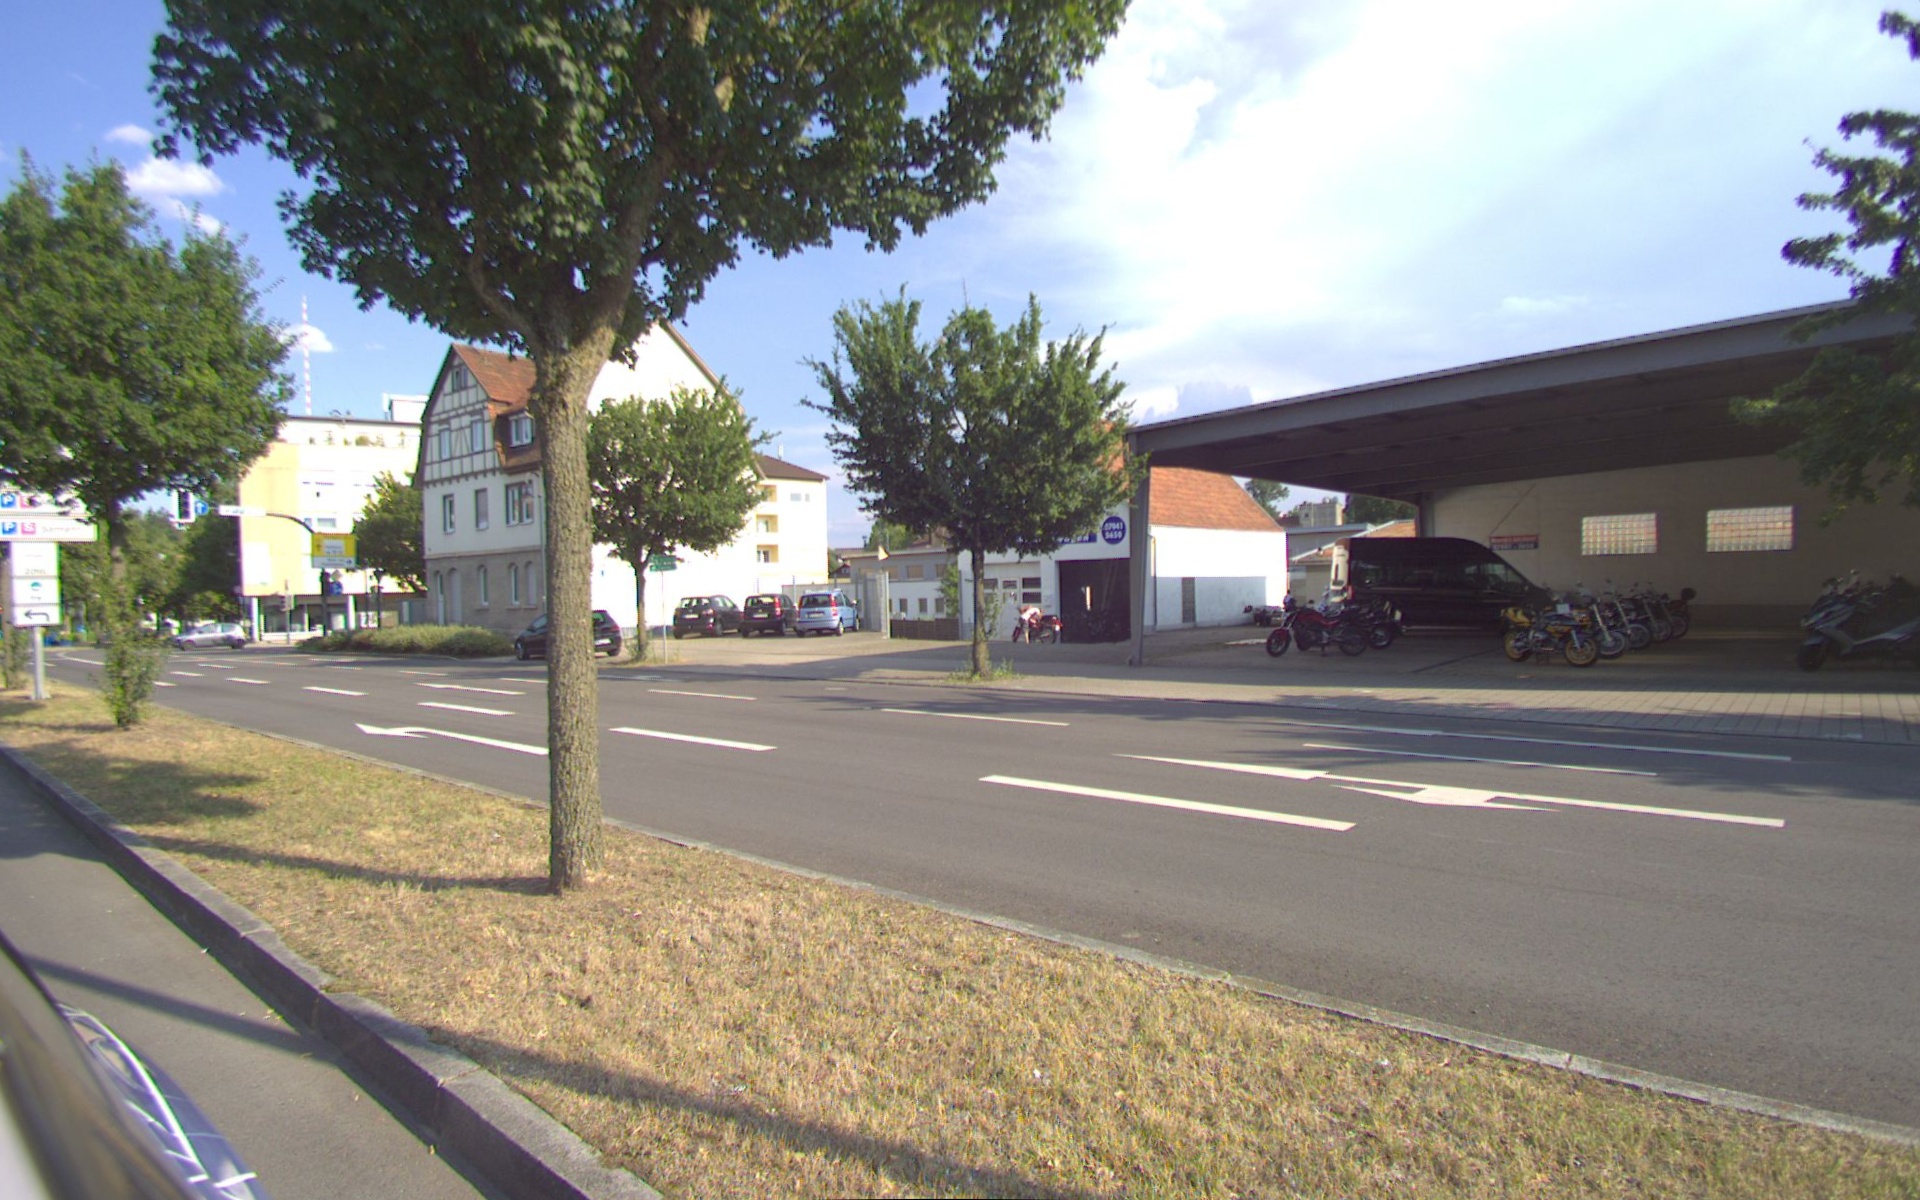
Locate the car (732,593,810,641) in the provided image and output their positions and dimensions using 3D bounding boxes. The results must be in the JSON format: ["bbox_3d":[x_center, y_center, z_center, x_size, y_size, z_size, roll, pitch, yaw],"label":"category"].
[{"bbox_3d":[-6.909,0.590,37.302,1.797,1.512,3.819,-3,2,5],"label":"car"}]

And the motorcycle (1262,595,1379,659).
[{"bbox_3d":[7.508,0.564,21.155,2.202,1.290,0.629,-1,0,11],"label":"motorcycle"}]

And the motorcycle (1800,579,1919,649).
[{"bbox_3d":[18.057,0.273,19.983,2.103,1.306,0.628,-3,-1,17],"label":"motorcycle"}]

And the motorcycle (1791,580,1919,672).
[{"bbox_3d":[13.873,0.378,15.111,2.103,1.306,0.628,-3,-1,17],"label":"motorcycle"}]

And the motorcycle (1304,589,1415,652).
[{"bbox_3d":[8.968,0.454,22.799,2.198,1.372,0.630,-1,0,5],"label":"motorcycle"}]

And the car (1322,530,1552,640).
[{"bbox_3d":[12.878,-0.374,27.623,5.221,2.773,1.996,-1,0,7],"label":"car"}]

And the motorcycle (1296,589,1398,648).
[{"bbox_3d":[9.391,0.456,24.603,2.198,1.372,0.630,-1,0,5],"label":"motorcycle"}]

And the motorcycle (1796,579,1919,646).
[{"bbox_3d":[19.046,0.260,21.284,2.103,1.306,0.628,-3,-1,17],"label":"motorcycle"}]

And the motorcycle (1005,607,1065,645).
[{"bbox_3d":[2.446,0.843,33.205,1.974,1.194,0.577,-1,0,41],"label":"motorcycle"}]

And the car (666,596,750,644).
[{"bbox_3d":[-9.310,0.694,37.695,1.797,1.512,3.819,-3,2,5],"label":"car"}]

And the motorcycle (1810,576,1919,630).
[{"bbox_3d":[23.746,0.078,26.516,2.103,1.306,0.628,-3,-1,17],"label":"motorcycle"}]

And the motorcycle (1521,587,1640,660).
[{"bbox_3d":[12.170,0.441,19.951,0.621,1.347,2.269,-1,0,-9],"label":"motorcycle"}]

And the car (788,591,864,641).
[{"bbox_3d":[-4.670,0.524,35.673,1.797,1.512,3.819,-3,2,5],"label":"car"}]

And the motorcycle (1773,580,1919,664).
[{"bbox_3d":[14.925,0.364,16.771,2.103,1.306,0.628,-3,-1,17],"label":"motorcycle"}]

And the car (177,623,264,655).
[{"bbox_3d":[-43.036,2.242,58.922,3.938,1.644,1.863,-1,0,-41],"label":"car"}]

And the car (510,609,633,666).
[{"bbox_3d":[-11.588,1.083,30.072,3.823,1.462,1.795,-1,2,42],"label":"car"}]

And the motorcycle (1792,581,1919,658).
[{"bbox_3d":[16.543,0.343,18.343,2.103,1.306,0.628,-3,-1,17],"label":"motorcycle"}]

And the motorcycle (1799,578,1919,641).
[{"bbox_3d":[20.240,0.211,22.639,2.103,1.306,0.628,-3,-1,17],"label":"motorcycle"}]

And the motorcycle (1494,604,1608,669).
[{"bbox_3d":[10.543,0.622,18.147,0.621,1.095,2.038,-1,0,-7],"label":"motorcycle"}]

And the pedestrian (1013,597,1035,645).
[{"bbox_3d":[2.084,0.680,32.760,0.485,1.530,0.496,-1,0,41],"label":"pedestrian"}]

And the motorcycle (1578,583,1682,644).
[{"bbox_3d":[15.549,0.306,23.574,0.621,1.347,2.269,-1,0,-9],"label":"motorcycle"}]

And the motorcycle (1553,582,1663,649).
[{"bbox_3d":[13.876,0.328,21.764,0.621,1.347,2.269,-1,0,-9],"label":"motorcycle"}]

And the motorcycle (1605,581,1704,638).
[{"bbox_3d":[17.302,0.224,25.298,0.621,1.347,2.269,-1,0,-9],"label":"motorcycle"}]
